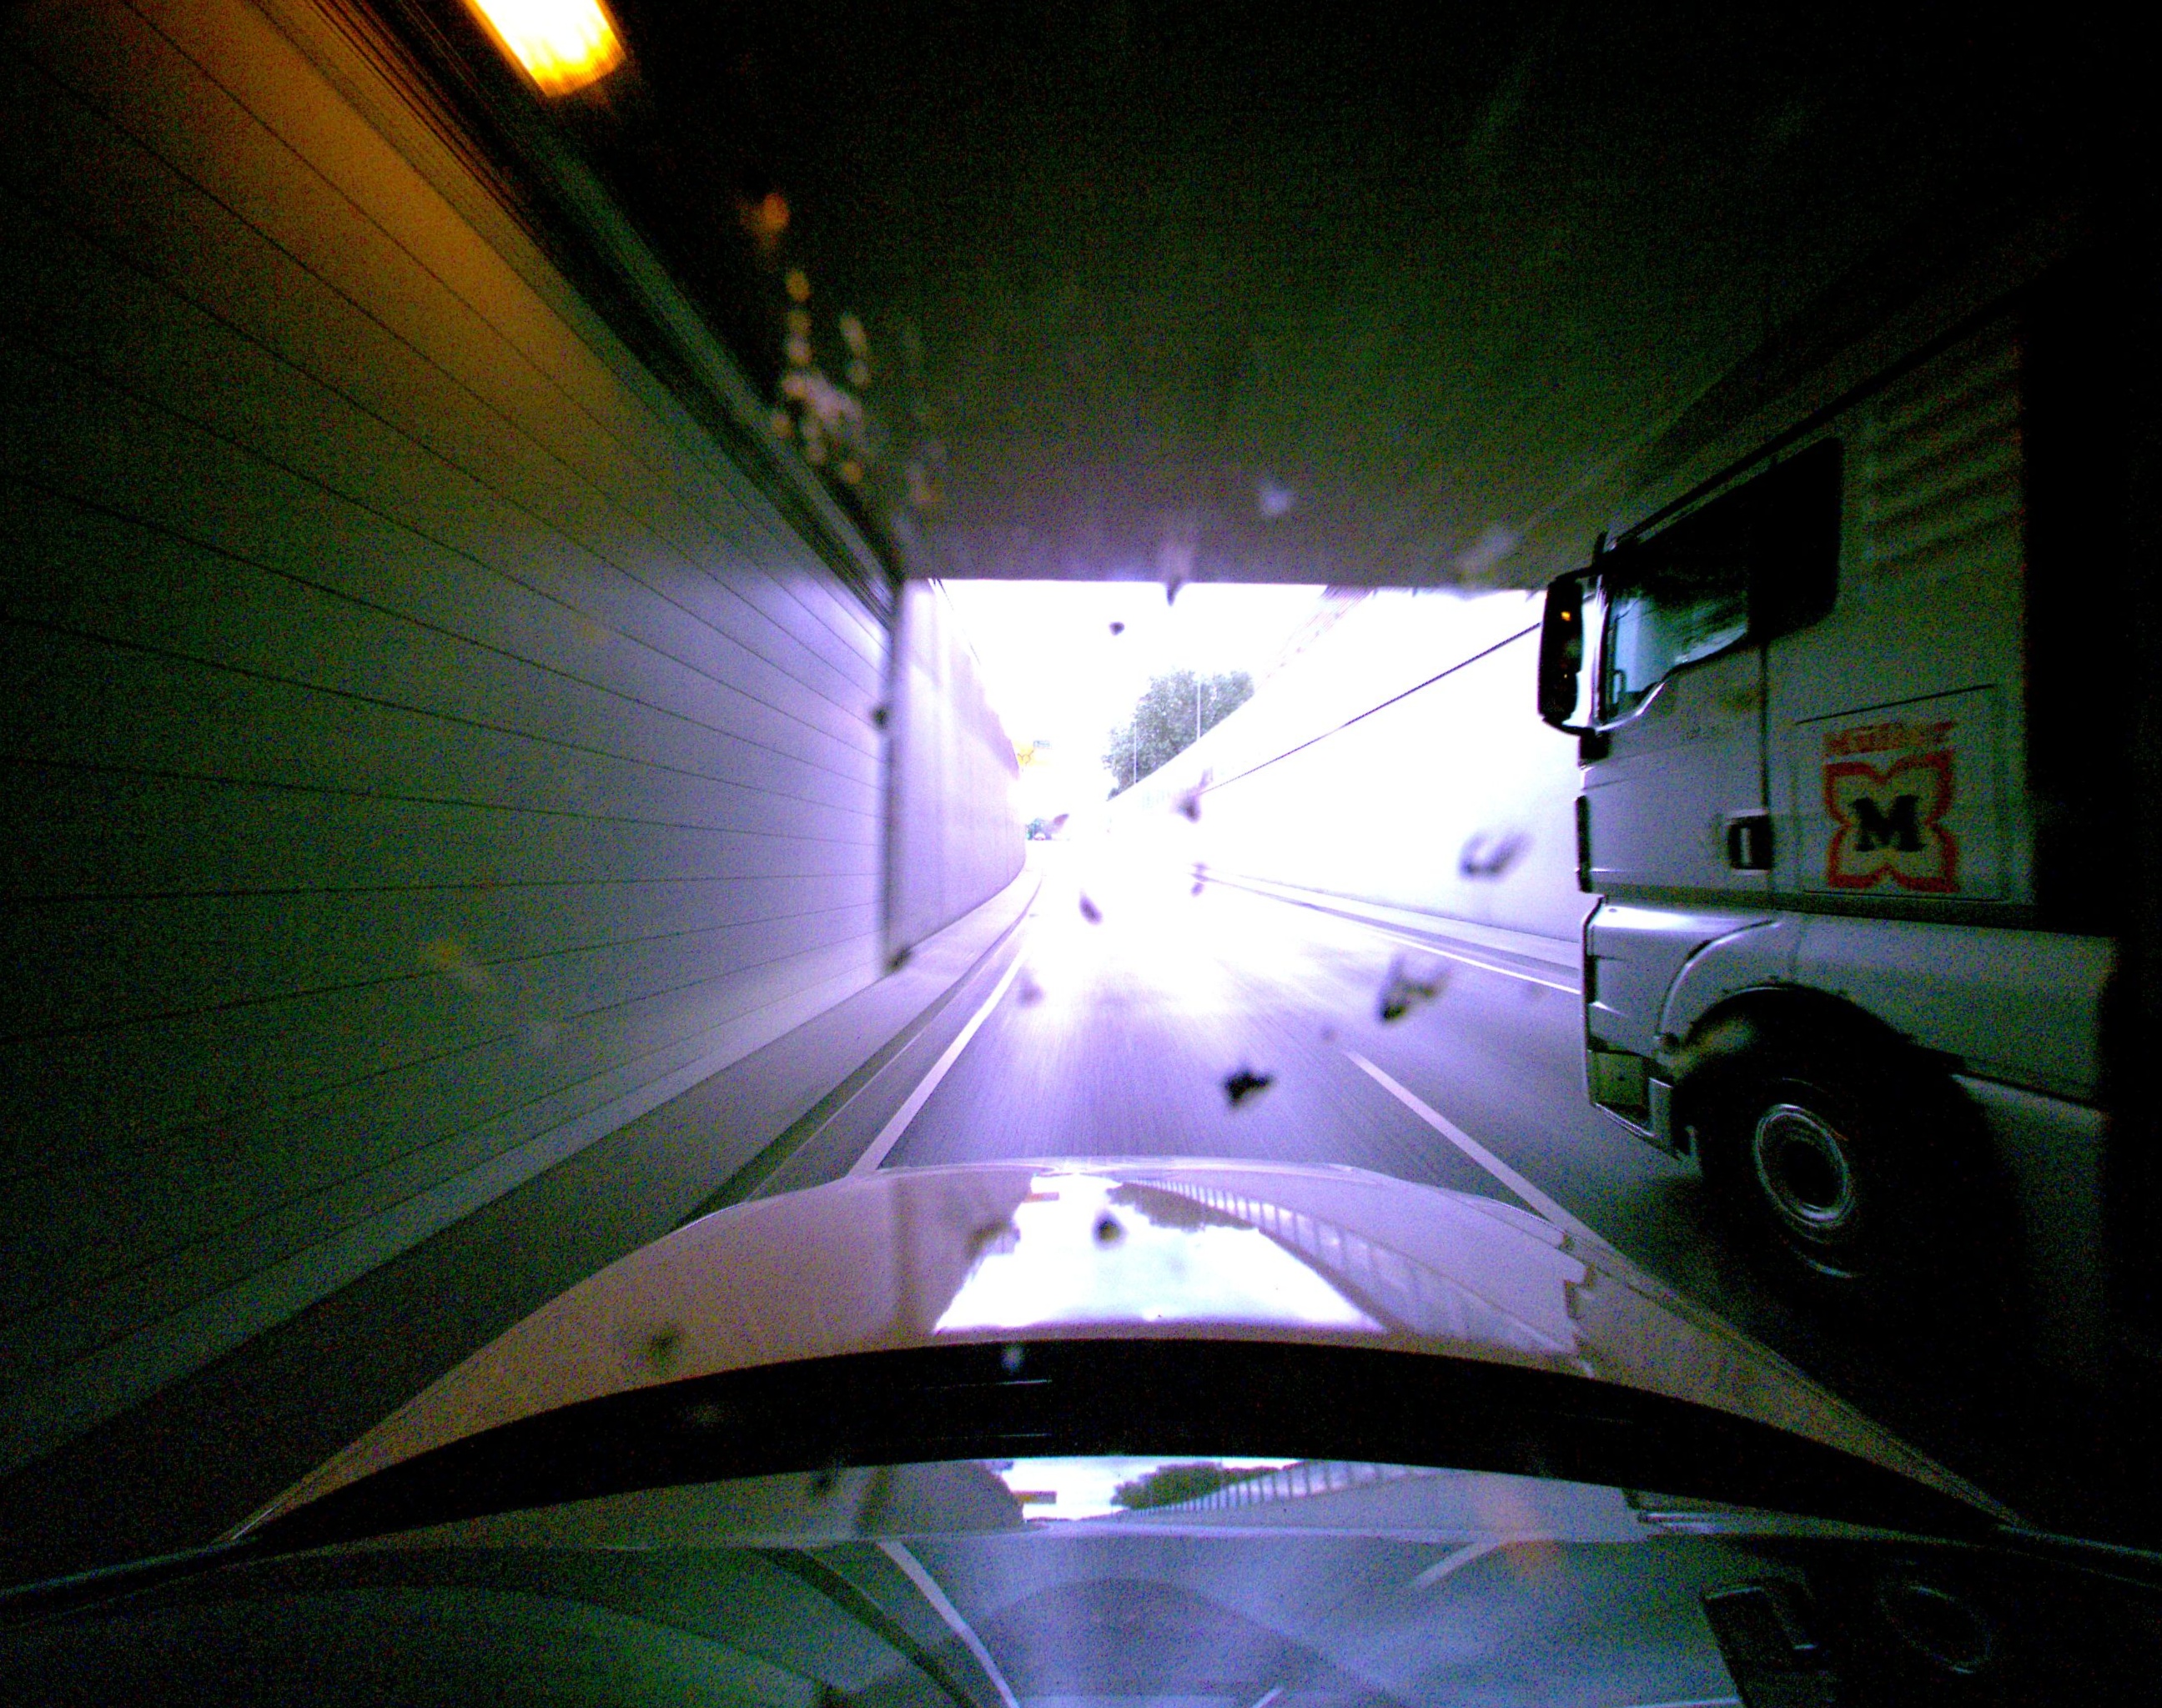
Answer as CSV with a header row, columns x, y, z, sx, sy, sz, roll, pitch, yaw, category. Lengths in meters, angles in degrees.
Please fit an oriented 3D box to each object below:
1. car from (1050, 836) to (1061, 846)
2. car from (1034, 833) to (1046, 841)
x,y,z,sx,sy,sz,roll,pitch,yaw,category
-4.807,-2.448,153.523,1.866,1.732,3.993,0,-1,-5,car
-7.537,-3.067,150.161,1.839,1.388,3.990,0,-1,-7,car
